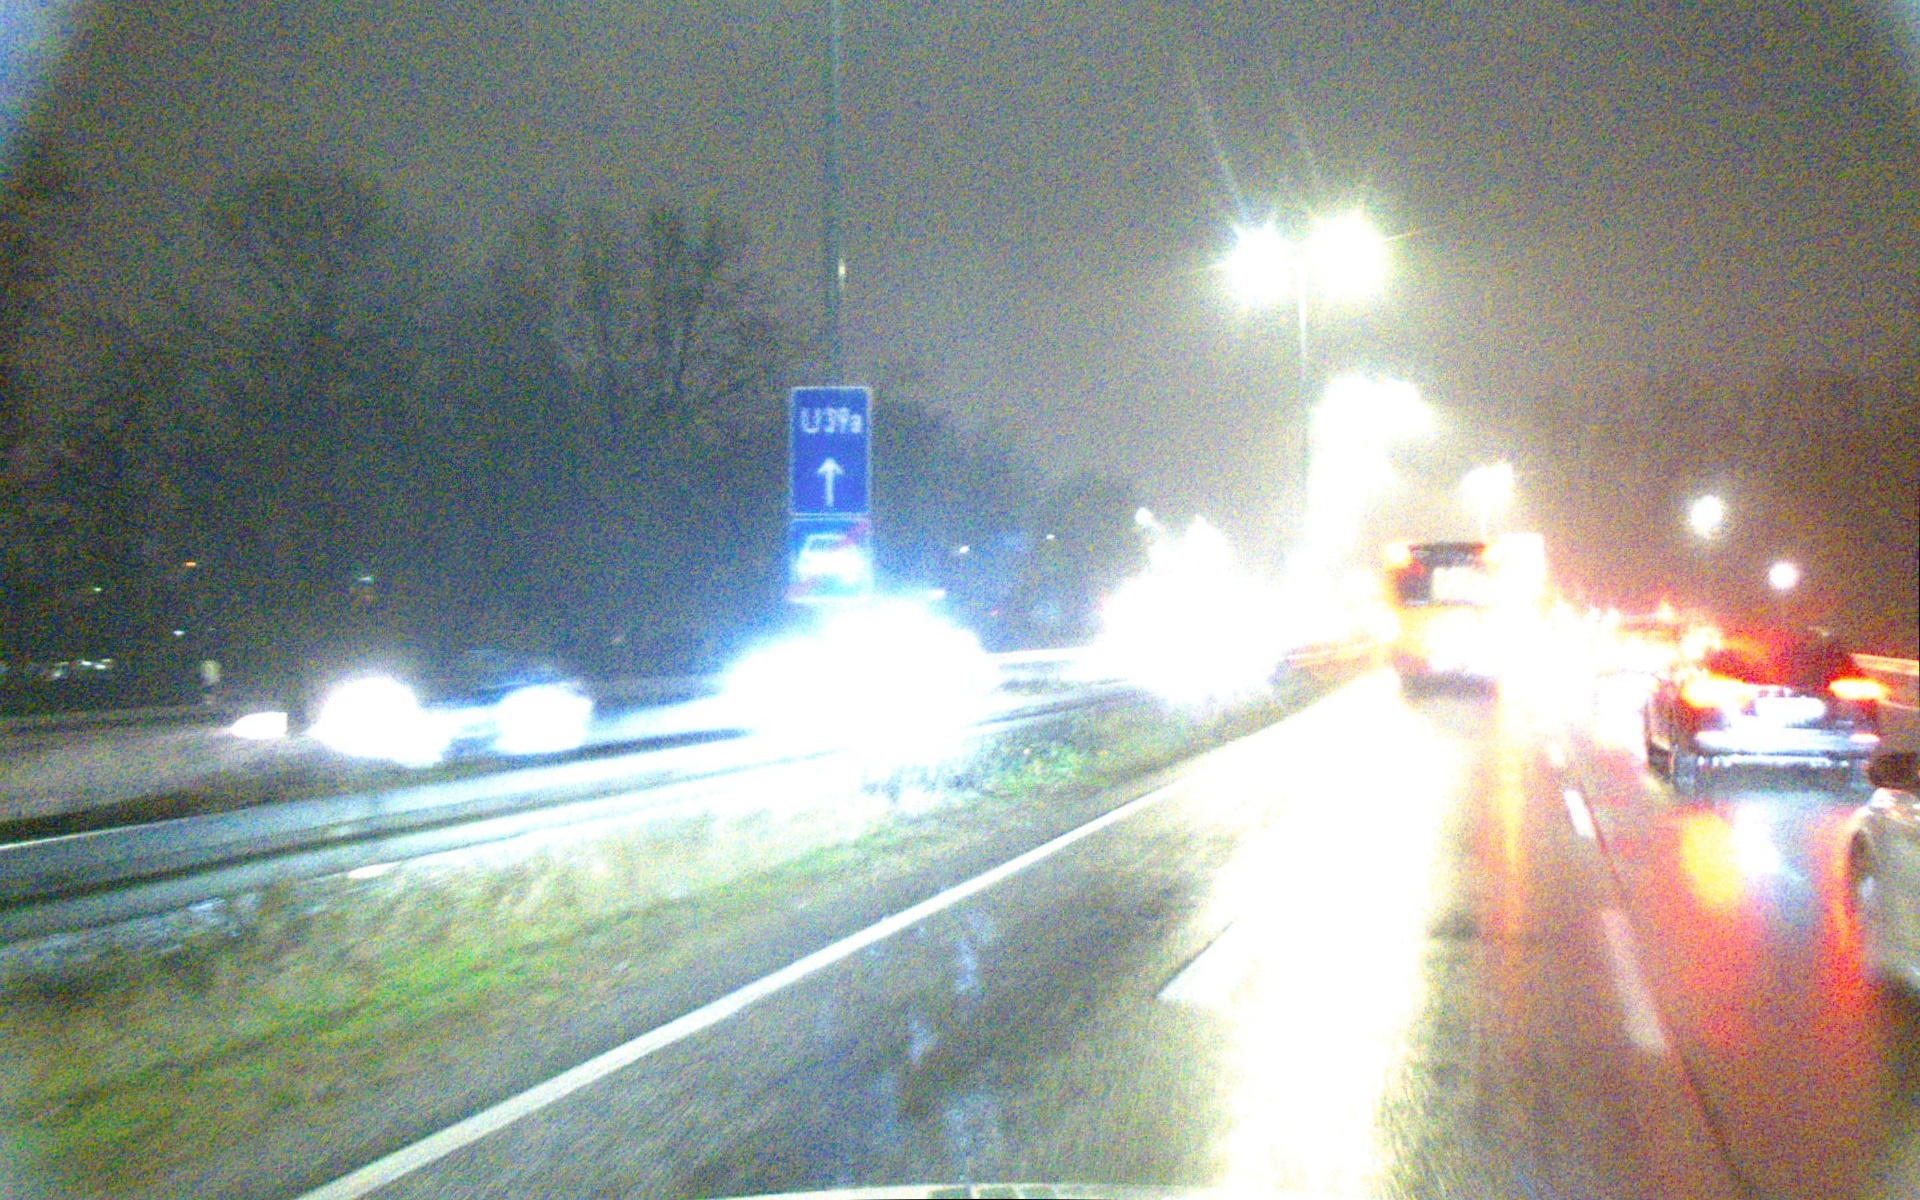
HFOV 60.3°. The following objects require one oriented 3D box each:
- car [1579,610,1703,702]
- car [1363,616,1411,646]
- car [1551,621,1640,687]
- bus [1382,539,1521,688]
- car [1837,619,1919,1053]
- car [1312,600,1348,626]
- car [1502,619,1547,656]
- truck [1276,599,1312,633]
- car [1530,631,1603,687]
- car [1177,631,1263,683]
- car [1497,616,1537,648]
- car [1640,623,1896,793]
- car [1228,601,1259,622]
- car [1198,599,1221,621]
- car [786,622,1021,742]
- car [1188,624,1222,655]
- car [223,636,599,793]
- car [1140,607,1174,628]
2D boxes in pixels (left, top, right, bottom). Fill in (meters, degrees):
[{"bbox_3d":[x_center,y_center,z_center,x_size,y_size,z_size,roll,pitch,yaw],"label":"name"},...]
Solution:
[{"bbox_3d":[12.635,0.994,30.888,1.702,1.592,3.779,1,0,16],"label":"car"},{"bbox_3d":[30.316,2.214,117.453,2.167,2.049,3.997,-1,-1,-3],"label":"car"},{"bbox_3d":[16.394,1.362,42.837,1.781,1.618,3.779,-1,-1,16],"label":"car"},{"bbox_3d":[11.496,0.318,38.569,2.756,3.077,8.691,0,-1,17],"label":"bus"},{"bbox_3d":[3.956,0.810,4.820,1.783,1.510,4.569,0,-1,19],"label":"car"},{"bbox_3d":[29.524,1.054,131.970,1.952,2.049,4.000,1,-1,0],"label":"car"},{"bbox_3d":[24.768,1.612,72.668,1.742,1.570,3.877,0,-1,17],"label":"car"},{"bbox_3d":[26.515,1.272,131.260,1.818,2.434,4.779,-2,2,0],"label":"truck"},{"bbox_3d":[18.556,1.775,50.737,1.781,1.618,3.779,-1,-1,16],"label":"car"},{"bbox_3d":[8.051,1.723,50.876,1.817,1.502,4.780,-1,-1,18],"label":"car"},{"bbox_3d":[29.264,1.665,86.968,1.781,1.618,3.779,-1,-1,17],"label":"car"},{"bbox_3d":[8.229,0.997,17.251,1.695,1.474,4.727,1,-1,17],"label":"car"},{"bbox_3d":[25.132,0.994,146.928,1.953,1.715,4.000,2,1,-1],"label":"car"},{"bbox_3d":[24.989,1.007,165.870,2.076,2.049,4.002,1,-1,6],"label":"car"},{"bbox_3d":[-0.614,1.008,22.226,1.577,1.406,4.747,0,-1,19],"label":"car"},{"bbox_3d":[16.774,2.701,112.977,1.951,2.049,4.003,1,-1,13],"label":"car"},{"bbox_3d":[-5.680,1.139,17.689,1.577,1.406,4.165,-3,-1,19],"label":"car"},{"bbox_3d":[19.682,1.737,165.338,1.960,2.049,3.984,1,-1,-15],"label":"car"}]
